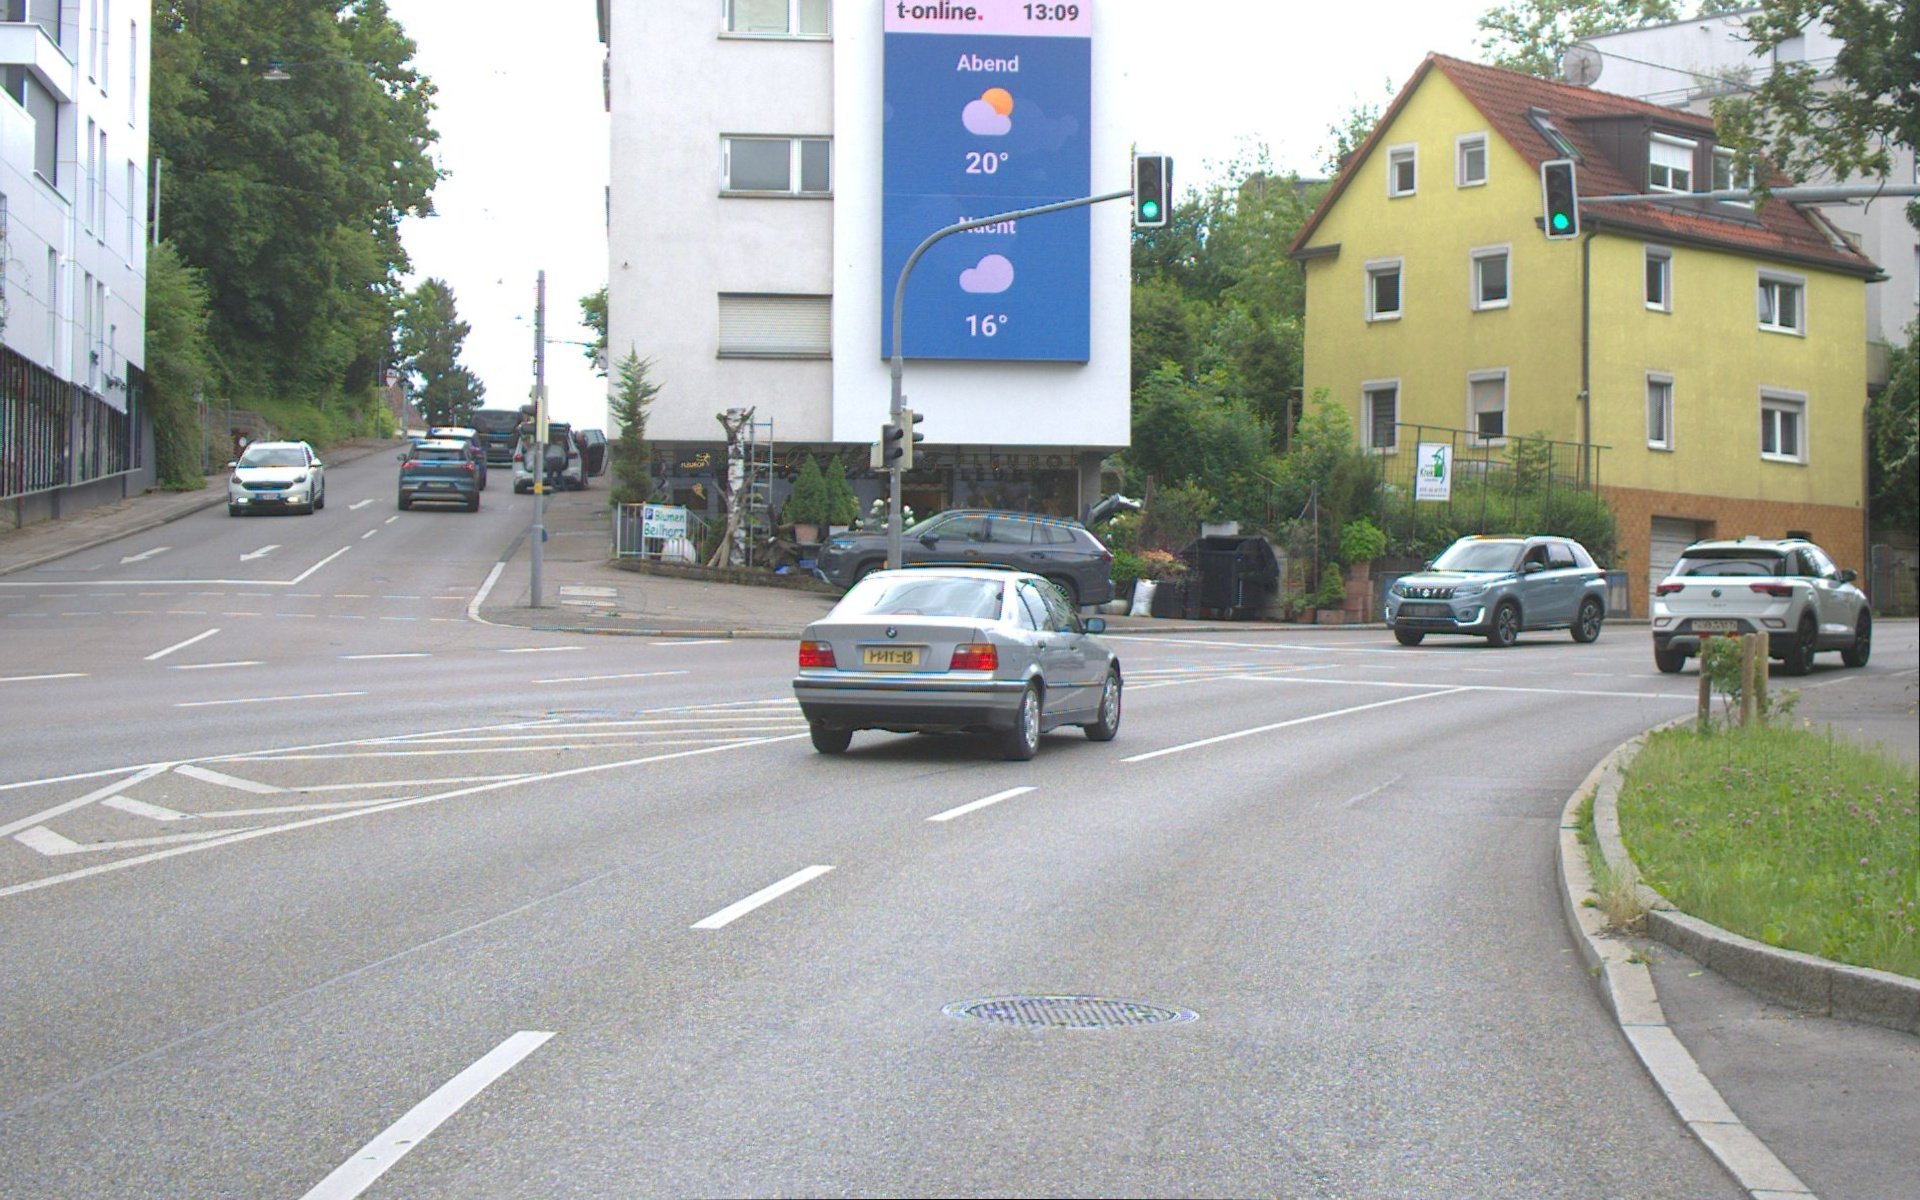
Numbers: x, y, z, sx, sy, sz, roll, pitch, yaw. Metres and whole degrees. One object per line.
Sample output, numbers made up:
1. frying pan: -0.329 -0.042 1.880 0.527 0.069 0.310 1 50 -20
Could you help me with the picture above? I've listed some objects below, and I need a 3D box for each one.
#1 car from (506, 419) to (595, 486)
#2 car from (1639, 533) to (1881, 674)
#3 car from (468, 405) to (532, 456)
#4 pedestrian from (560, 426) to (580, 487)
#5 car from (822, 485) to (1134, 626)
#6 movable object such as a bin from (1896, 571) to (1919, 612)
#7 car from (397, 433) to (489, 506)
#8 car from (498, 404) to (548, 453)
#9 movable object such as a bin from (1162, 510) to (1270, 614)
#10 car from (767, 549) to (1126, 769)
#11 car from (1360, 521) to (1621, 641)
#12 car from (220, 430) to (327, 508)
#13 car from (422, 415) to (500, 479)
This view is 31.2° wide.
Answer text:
1. car: -10.680 -3.834 89.819 2.089 1.607 4.001 1 1 -4
2. car: 9.639 0.012 41.234 1.783 1.573 3.994 1 1 29
3. car: -14.414 -5.314 107.874 1.794 1.460 4.001 2 1 -5
4. pedestrian: -10.019 -3.690 88.362 0.458 1.524 0.527 1 0 -4
5. car: 0.244 -0.737 55.131 4.687 1.706 2.319 5 4 -5
6. movable object such as a bin: 20.985 -0.182 75.725 0.568 0.882 0.609 2 2 29
7. car: -11.809 -2.961 78.696 1.779 1.573 4.001 2 1 -5
8. car: -19.379 -7.606 152.515 1.993 2.007 4.001 2 1 -5
9. movable object such as a bin: 4.515 -0.670 60.464 1.763 1.773 1.854 1 1 8
10. car: -0.013 0.375 25.938 1.707 1.459 3.997 2 2 14
11. car: 7.865 -0.285 50.726 1.900 1.689 4.337 1 1 38
12. car: -15.110 -2.915 75.848 1.882 1.562 4.391 0 4 -5
13. car: -13.201 -4.063 91.136 1.779 1.573 4.001 2 3 -5
